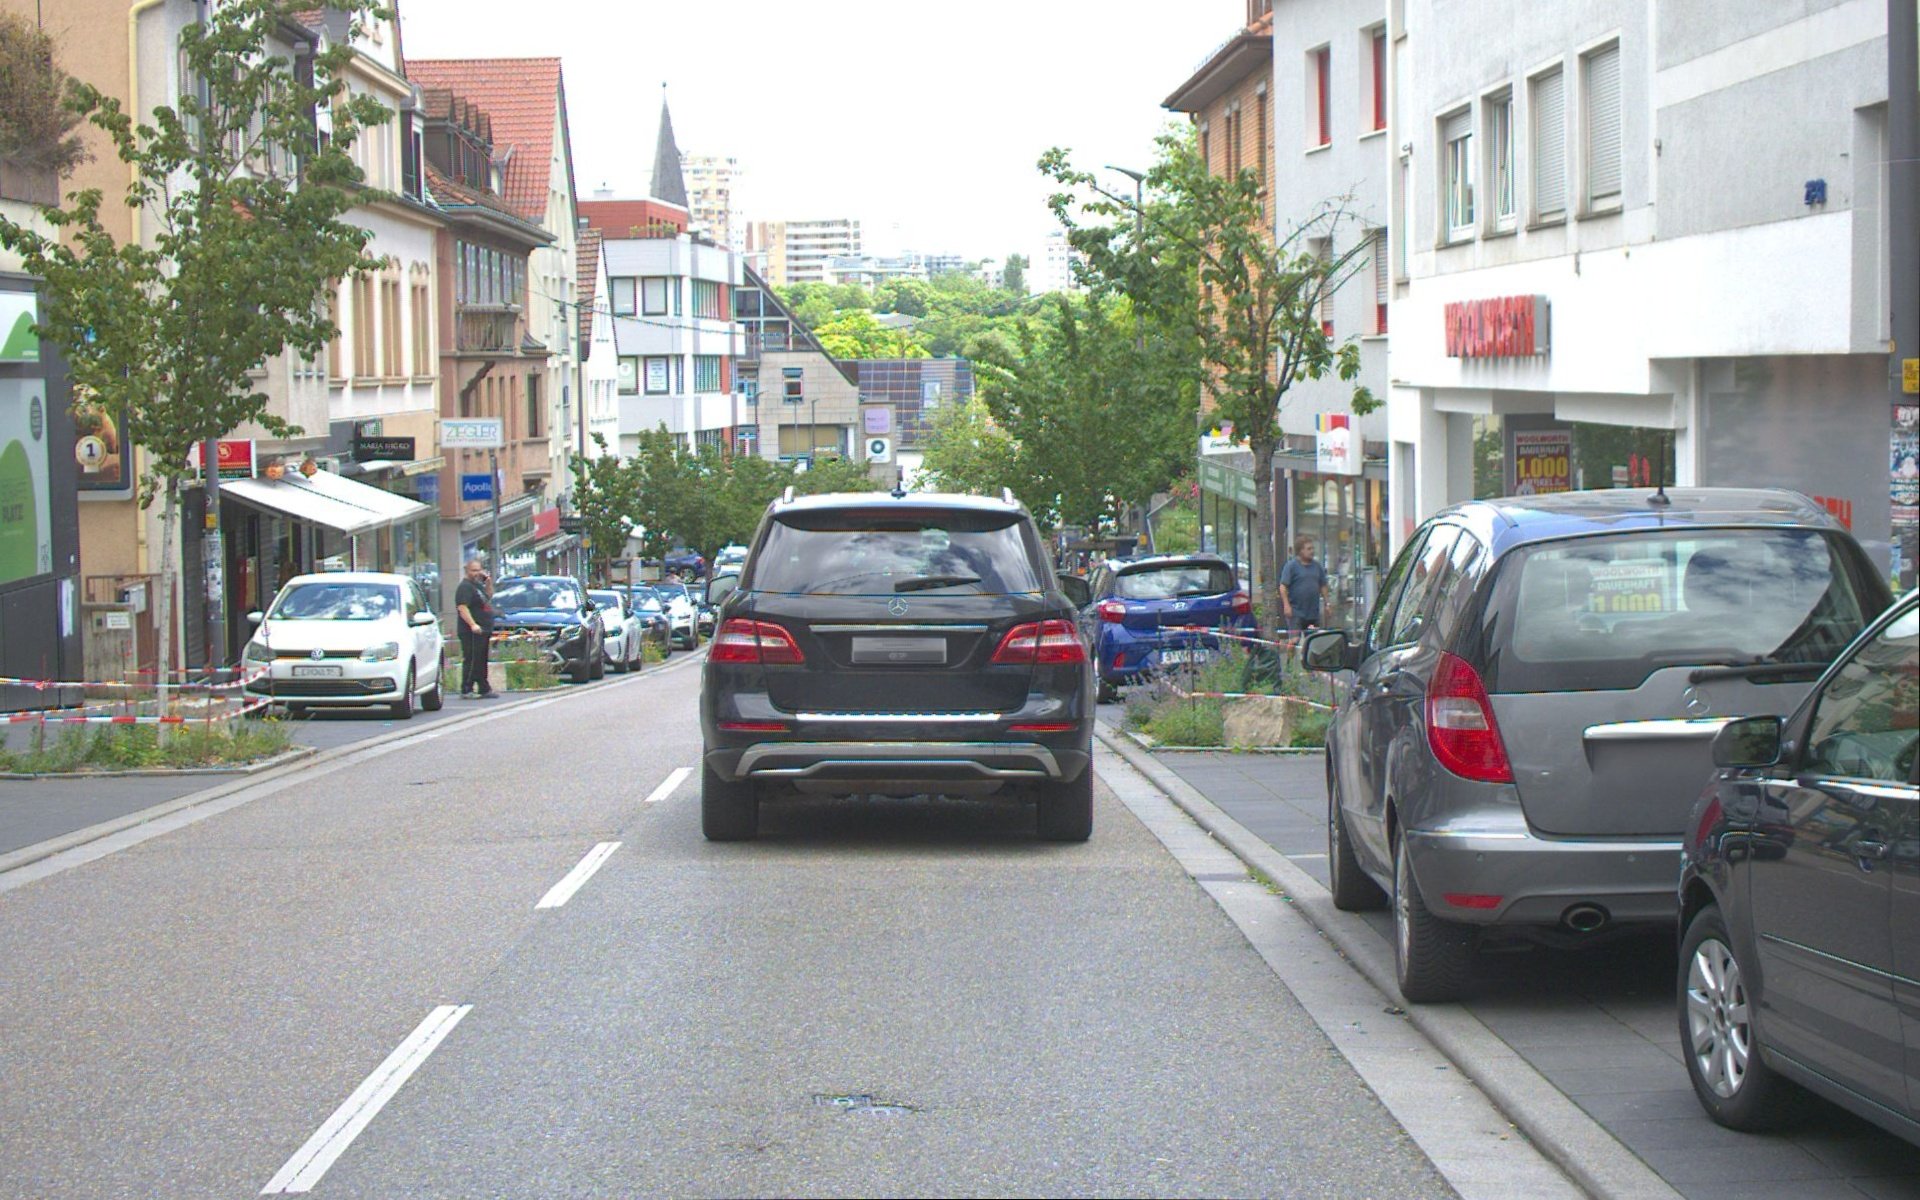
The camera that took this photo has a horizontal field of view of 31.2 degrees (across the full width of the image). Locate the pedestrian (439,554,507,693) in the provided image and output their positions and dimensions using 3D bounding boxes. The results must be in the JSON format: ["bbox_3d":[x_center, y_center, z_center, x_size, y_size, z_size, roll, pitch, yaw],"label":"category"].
[{"bbox_3d":[-5.921,0.275,41.795,0.737,1.666,0.863,-1,0,-4],"label":"pedestrian"}]

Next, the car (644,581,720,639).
[{"bbox_3d":[-7.883,0.270,97.774,1.926,1.491,4.262,2,1,-2],"label":"car"}]

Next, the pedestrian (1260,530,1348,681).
[{"bbox_3d":[3.662,0.054,36.641,0.756,1.555,0.818,-2,1,-4],"label":"pedestrian"}]

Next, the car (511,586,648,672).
[{"bbox_3d":[-6.636,0.477,60.334,1.926,1.425,4.262,0,0,0],"label":"car"}]

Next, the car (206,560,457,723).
[{"bbox_3d":[-6.388,0.376,35.385,1.926,1.506,4.262,1,1,-2],"label":"car"}]

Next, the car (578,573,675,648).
[{"bbox_3d":[-7.145,0.206,74.053,1.926,1.491,4.263,-1,1,-4],"label":"car"}]

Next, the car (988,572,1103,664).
[{"bbox_3d":[1.524,0.299,62.662,1.748,1.460,4.075,-4,1,-2],"label":"car"}]

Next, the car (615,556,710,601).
[{"bbox_3d":[-12.888,-0.930,149.032,3.986,1.744,2.000,-3,0,-5],"label":"car"}]

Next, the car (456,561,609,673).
[{"bbox_3d":[-6.494,0.248,52.652,1.926,1.616,4.640,1,0,-2],"label":"car"}]

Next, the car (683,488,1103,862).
[{"bbox_3d":[-0.337,0.300,18.036,1.943,1.734,4.179,0,1,-1],"label":"car"}]

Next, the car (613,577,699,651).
[{"bbox_3d":[-7.172,0.311,81.350,1.926,1.590,4.459,1,1,-4],"label":"car"}]

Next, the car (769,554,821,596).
[{"bbox_3d":[-6.653,-1.028,138.778,1.926,1.623,4.262,2,1,-1],"label":"car"}]

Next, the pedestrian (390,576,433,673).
[{"bbox_3d":[-9.109,0.404,57.120,0.547,1.570,0.863,-2,1,-2],"label":"pedestrian"}]

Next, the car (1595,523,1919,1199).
[{"bbox_3d":[2.717,0.574,7.311,1.748,1.503,3.875,-2,1,-4],"label":"car"}]

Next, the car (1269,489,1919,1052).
[{"bbox_3d":[2.168,0.468,12.058,1.748,1.602,3.800,-2,1,0],"label":"car"}]

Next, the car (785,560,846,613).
[{"bbox_3d":[-4.903,-0.481,117.035,1.992,1.712,4.447,-1,1,-2],"label":"car"}]

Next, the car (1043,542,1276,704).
[{"bbox_3d":[2.008,0.247,35.590,1.748,1.492,3.800,-3,0,-6],"label":"car"}]

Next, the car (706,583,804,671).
[{"bbox_3d":[-4.067,0.518,68.250,1.819,1.612,4.136,-3,0,-3],"label":"car"}]
